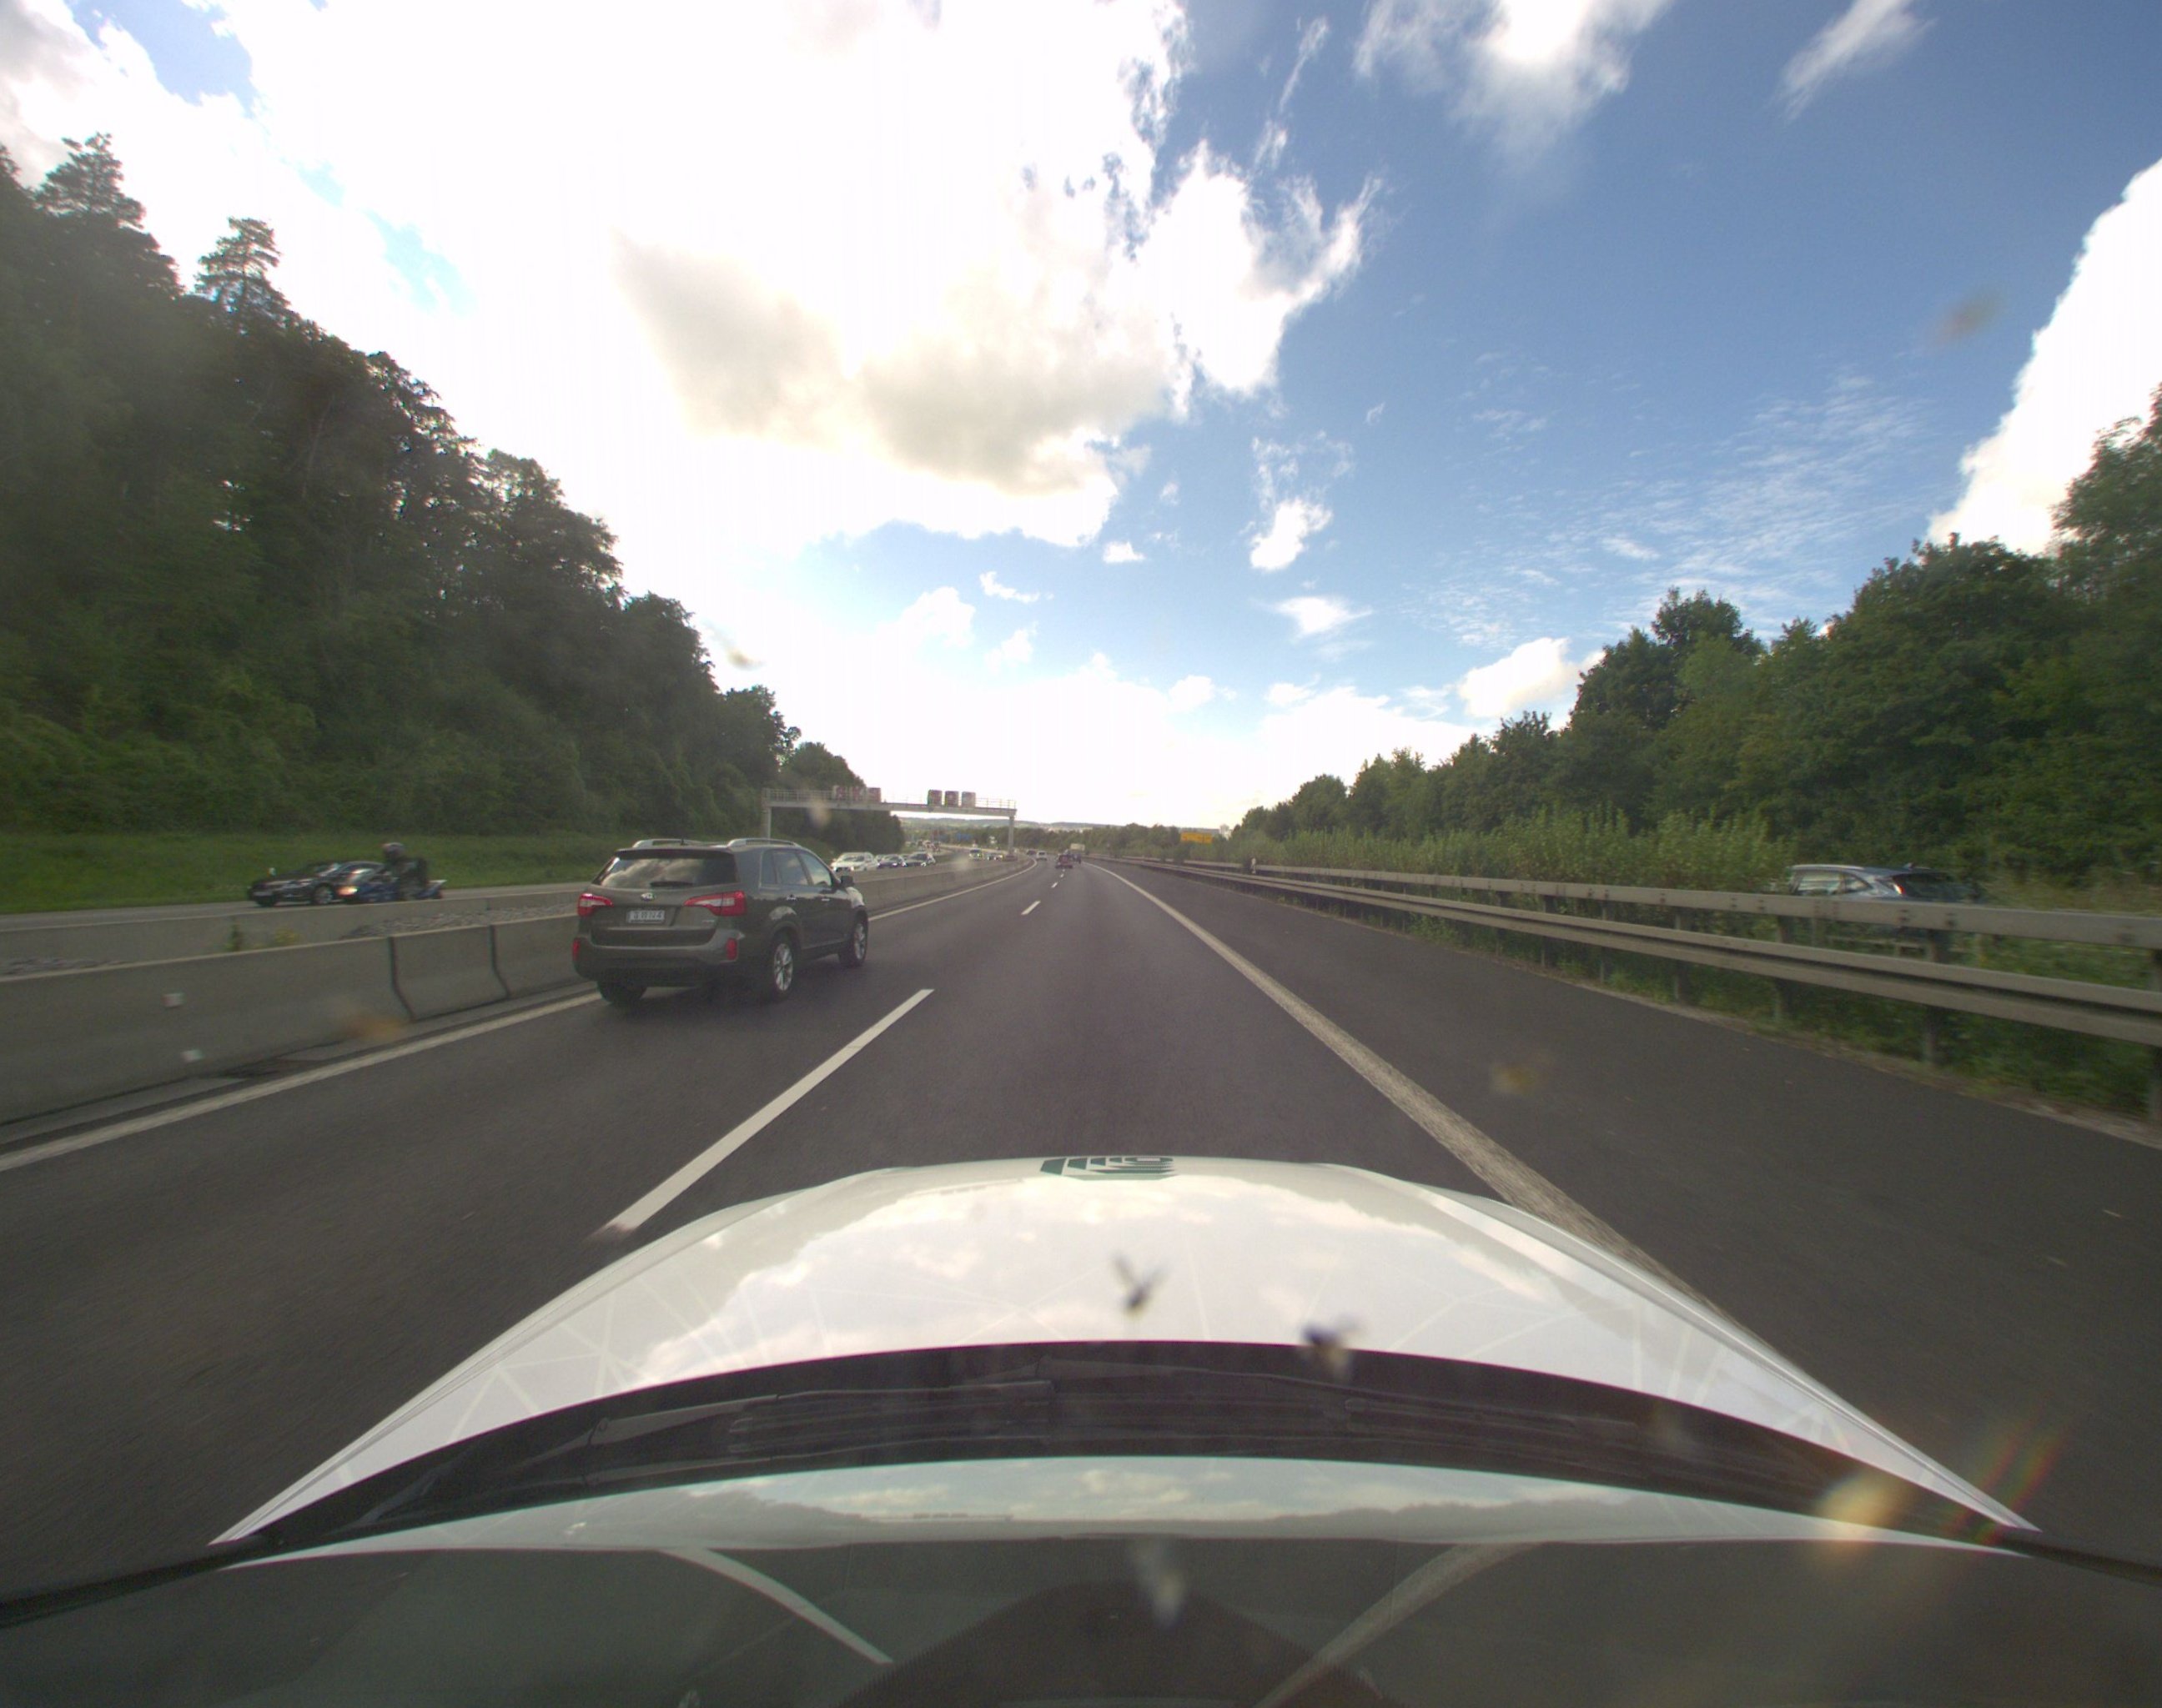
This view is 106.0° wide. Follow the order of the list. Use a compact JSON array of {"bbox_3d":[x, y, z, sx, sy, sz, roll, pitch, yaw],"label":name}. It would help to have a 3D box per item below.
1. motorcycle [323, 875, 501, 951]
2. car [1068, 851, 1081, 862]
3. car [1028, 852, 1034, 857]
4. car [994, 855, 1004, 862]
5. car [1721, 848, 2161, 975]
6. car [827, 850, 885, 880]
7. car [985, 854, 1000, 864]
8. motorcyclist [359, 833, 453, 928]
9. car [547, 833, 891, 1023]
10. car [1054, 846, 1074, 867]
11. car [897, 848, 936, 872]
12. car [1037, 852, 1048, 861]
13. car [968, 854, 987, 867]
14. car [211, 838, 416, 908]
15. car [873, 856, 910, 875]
[{"bbox_3d":[-11.935,1.001,14.701,0.919,1.188,2.641,0,0,3],"label":"motorcycle"},{"bbox_3d":[-0.970,0.323,121.101,1.584,1.597,4.088,0,0,-5],"label":"car"},{"bbox_3d":[-15.649,0.079,256.091,1.603,1.558,3.990,0,-1,-7],"label":"car"},{"bbox_3d":[-15.601,0.859,154.290,1.561,1.450,3.886,0,0,-1],"label":"car"},{"bbox_3d":[12.369,0.674,12.119,1.781,1.519,4.667,0,0,-5],"label":"car"},{"bbox_3d":[-11.873,0.556,43.175,1.754,1.460,4.297,0,0,2],"label":"car"},{"bbox_3d":[-14.866,0.797,136.957,1.987,1.536,5.283,0,0,-1],"label":"car"},{"bbox_3d":[-11.947,0.456,14.446,0.892,1.633,0.922,0,0,2],"label":"motorcyclist"},{"bbox_3d":[-3.940,0.678,10.088,1.811,1.736,5.188,0,0,2],"label":"car"},{"bbox_3d":[-1.827,0.261,87.454,2.024,2.151,4.000,0,1,0],"label":"car"},{"bbox_3d":[-11.936,0.401,59.449,1.869,1.697,4.316,0,0,2],"label":"car"},{"bbox_3d":[-7.280,0.405,154.253,1.990,1.684,3.993,0,-1,-5],"label":"car"},{"bbox_3d":[-12.556,0.769,98.958,1.694,1.539,4.499,0,0,-1],"label":"car"},{"bbox_3d":[-24.357,0.555,26.164,2.018,2.034,4.781,0,0,0],"label":"car"},{"bbox_3d":[-16.308,0.969,70.360,1.987,1.539,4.739,0,0,0],"label":"car"}]
